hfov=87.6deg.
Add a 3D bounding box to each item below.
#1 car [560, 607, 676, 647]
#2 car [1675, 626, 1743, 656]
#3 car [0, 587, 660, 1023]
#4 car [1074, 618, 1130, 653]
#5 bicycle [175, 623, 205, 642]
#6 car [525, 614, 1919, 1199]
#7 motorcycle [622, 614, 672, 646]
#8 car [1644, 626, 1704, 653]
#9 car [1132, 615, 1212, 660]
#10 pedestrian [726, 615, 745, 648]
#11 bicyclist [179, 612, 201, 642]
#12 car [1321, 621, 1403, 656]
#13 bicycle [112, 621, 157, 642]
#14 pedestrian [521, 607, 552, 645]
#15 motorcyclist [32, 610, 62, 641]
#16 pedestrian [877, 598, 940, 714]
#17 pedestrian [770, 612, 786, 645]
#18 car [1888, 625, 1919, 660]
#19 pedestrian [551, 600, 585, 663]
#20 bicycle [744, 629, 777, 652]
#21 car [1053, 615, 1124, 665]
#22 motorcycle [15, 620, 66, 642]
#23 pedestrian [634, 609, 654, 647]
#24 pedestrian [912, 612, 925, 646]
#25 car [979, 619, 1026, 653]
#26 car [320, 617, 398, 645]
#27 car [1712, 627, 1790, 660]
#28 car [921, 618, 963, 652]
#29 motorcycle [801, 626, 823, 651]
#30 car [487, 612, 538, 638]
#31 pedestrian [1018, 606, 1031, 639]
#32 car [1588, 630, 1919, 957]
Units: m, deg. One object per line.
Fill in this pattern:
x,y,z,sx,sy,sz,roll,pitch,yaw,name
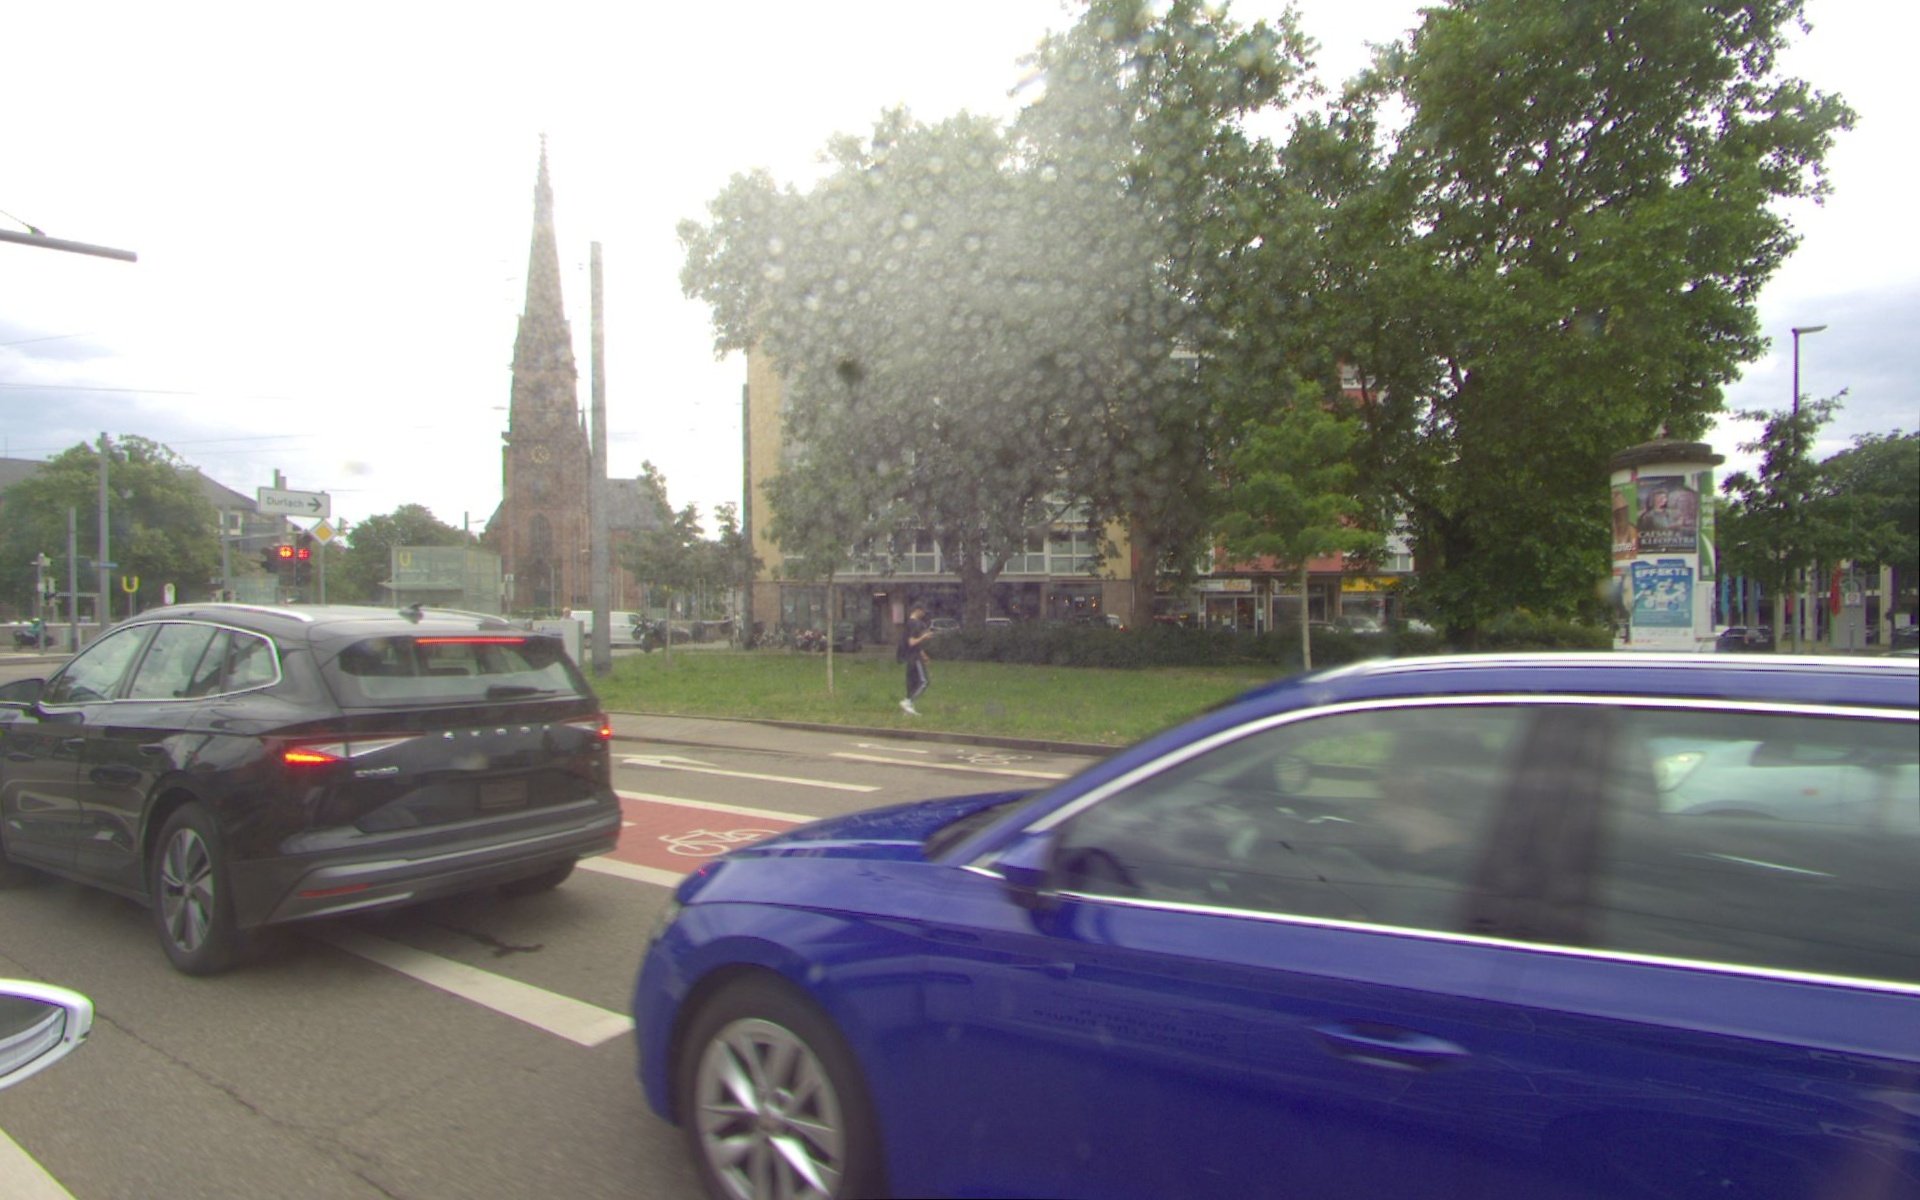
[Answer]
-18.686,1.467,54.891,5.673,2.039,2.012,0,-1,-40,car
44.741,2.439,59.907,1.828,1.644,4.469,-1,-1,17,car
-3.909,0.800,5.657,4.444,1.617,1.774,-1,-1,32,car
6.659,1.637,47.364,1.825,1.568,4.476,0,-1,-3,car
-49.659,2.068,64.621,0.763,1.199,2.030,0,-1,-13,bicycle
1.106,0.797,2.353,4.403,1.507,1.776,-1,-1,33,car
-11.911,1.142,38.158,0.753,1.183,2.385,0,-1,12,motorcycle
46.214,2.540,64.936,1.828,1.644,4.469,-1,-1,17,car
7.795,1.357,37.185,1.825,1.568,4.476,0,-1,-3,car
-11.520,1.619,51.390,0.776,1.659,0.633,0,-1,-33,pedestrian
-49.647,1.712,64.552,0.764,1.922,0.996,0,0,-13,bicyclist
18.784,1.775,47.013,1.825,1.568,4.476,0,-1,-4,car
-55.993,2.136,67.934,0.699,1.348,2.252,-2,-1,40,bicycle
-20.369,1.244,48.147,1.066,1.820,0.947,-1,-1,0,pedestrian
-49.327,1.373,54.095,0.735,1.671,0.980,-1,0,0,motorcyclist
-0.843,0.902,16.394,0.968,1.868,0.536,0,0,-11,pedestrian
-9.311,1.469,51.223,0.625,1.659,0.872,0,-1,-1,pedestrian
45.777,1.978,46.684,1.865,1.568,4.469,-2,-1,17,car
-12.375,0.978,31.652,0.873,1.955,1.016,0,-1,-15,pedestrian
-8.222,1.677,41.249,1.240,0.929,0.595,0,-1,3,bicycle
4.695,1.461,37.160,1.825,1.745,4.476,0,-1,-3,car
-49.311,1.659,53.726,0.729,1.154,2.142,0,-1,0,motorcycle
-14.173,1.260,44.925,0.625,1.659,0.872,0,-1,0,pedestrian
-2.080,1.457,50.533,0.625,1.659,0.872,0,-1,0,pedestrian
1.942,1.655,46.907,1.825,1.509,4.476,0,-1,-3,car
-32.861,1.684,54.854,1.740,1.483,4.001,-1,-1,2,car
42.861,2.337,54.384,1.828,1.644,4.469,-1,-1,17,car
-0.875,1.630,46.883,1.825,1.509,4.476,0,-1,-3,car
-5.905,1.540,40.118,0.857,1.010,1.014,0,-1,-8,motorcycle
-32.683,1.844,73.230,1.864,1.797,4.001,-1,-1,2,car
3.289,1.128,50.954,0.625,1.659,0.872,0,-1,0,pedestrian
5.634,0.915,5.009,4.032,1.486,1.749,0,-1,26,car
